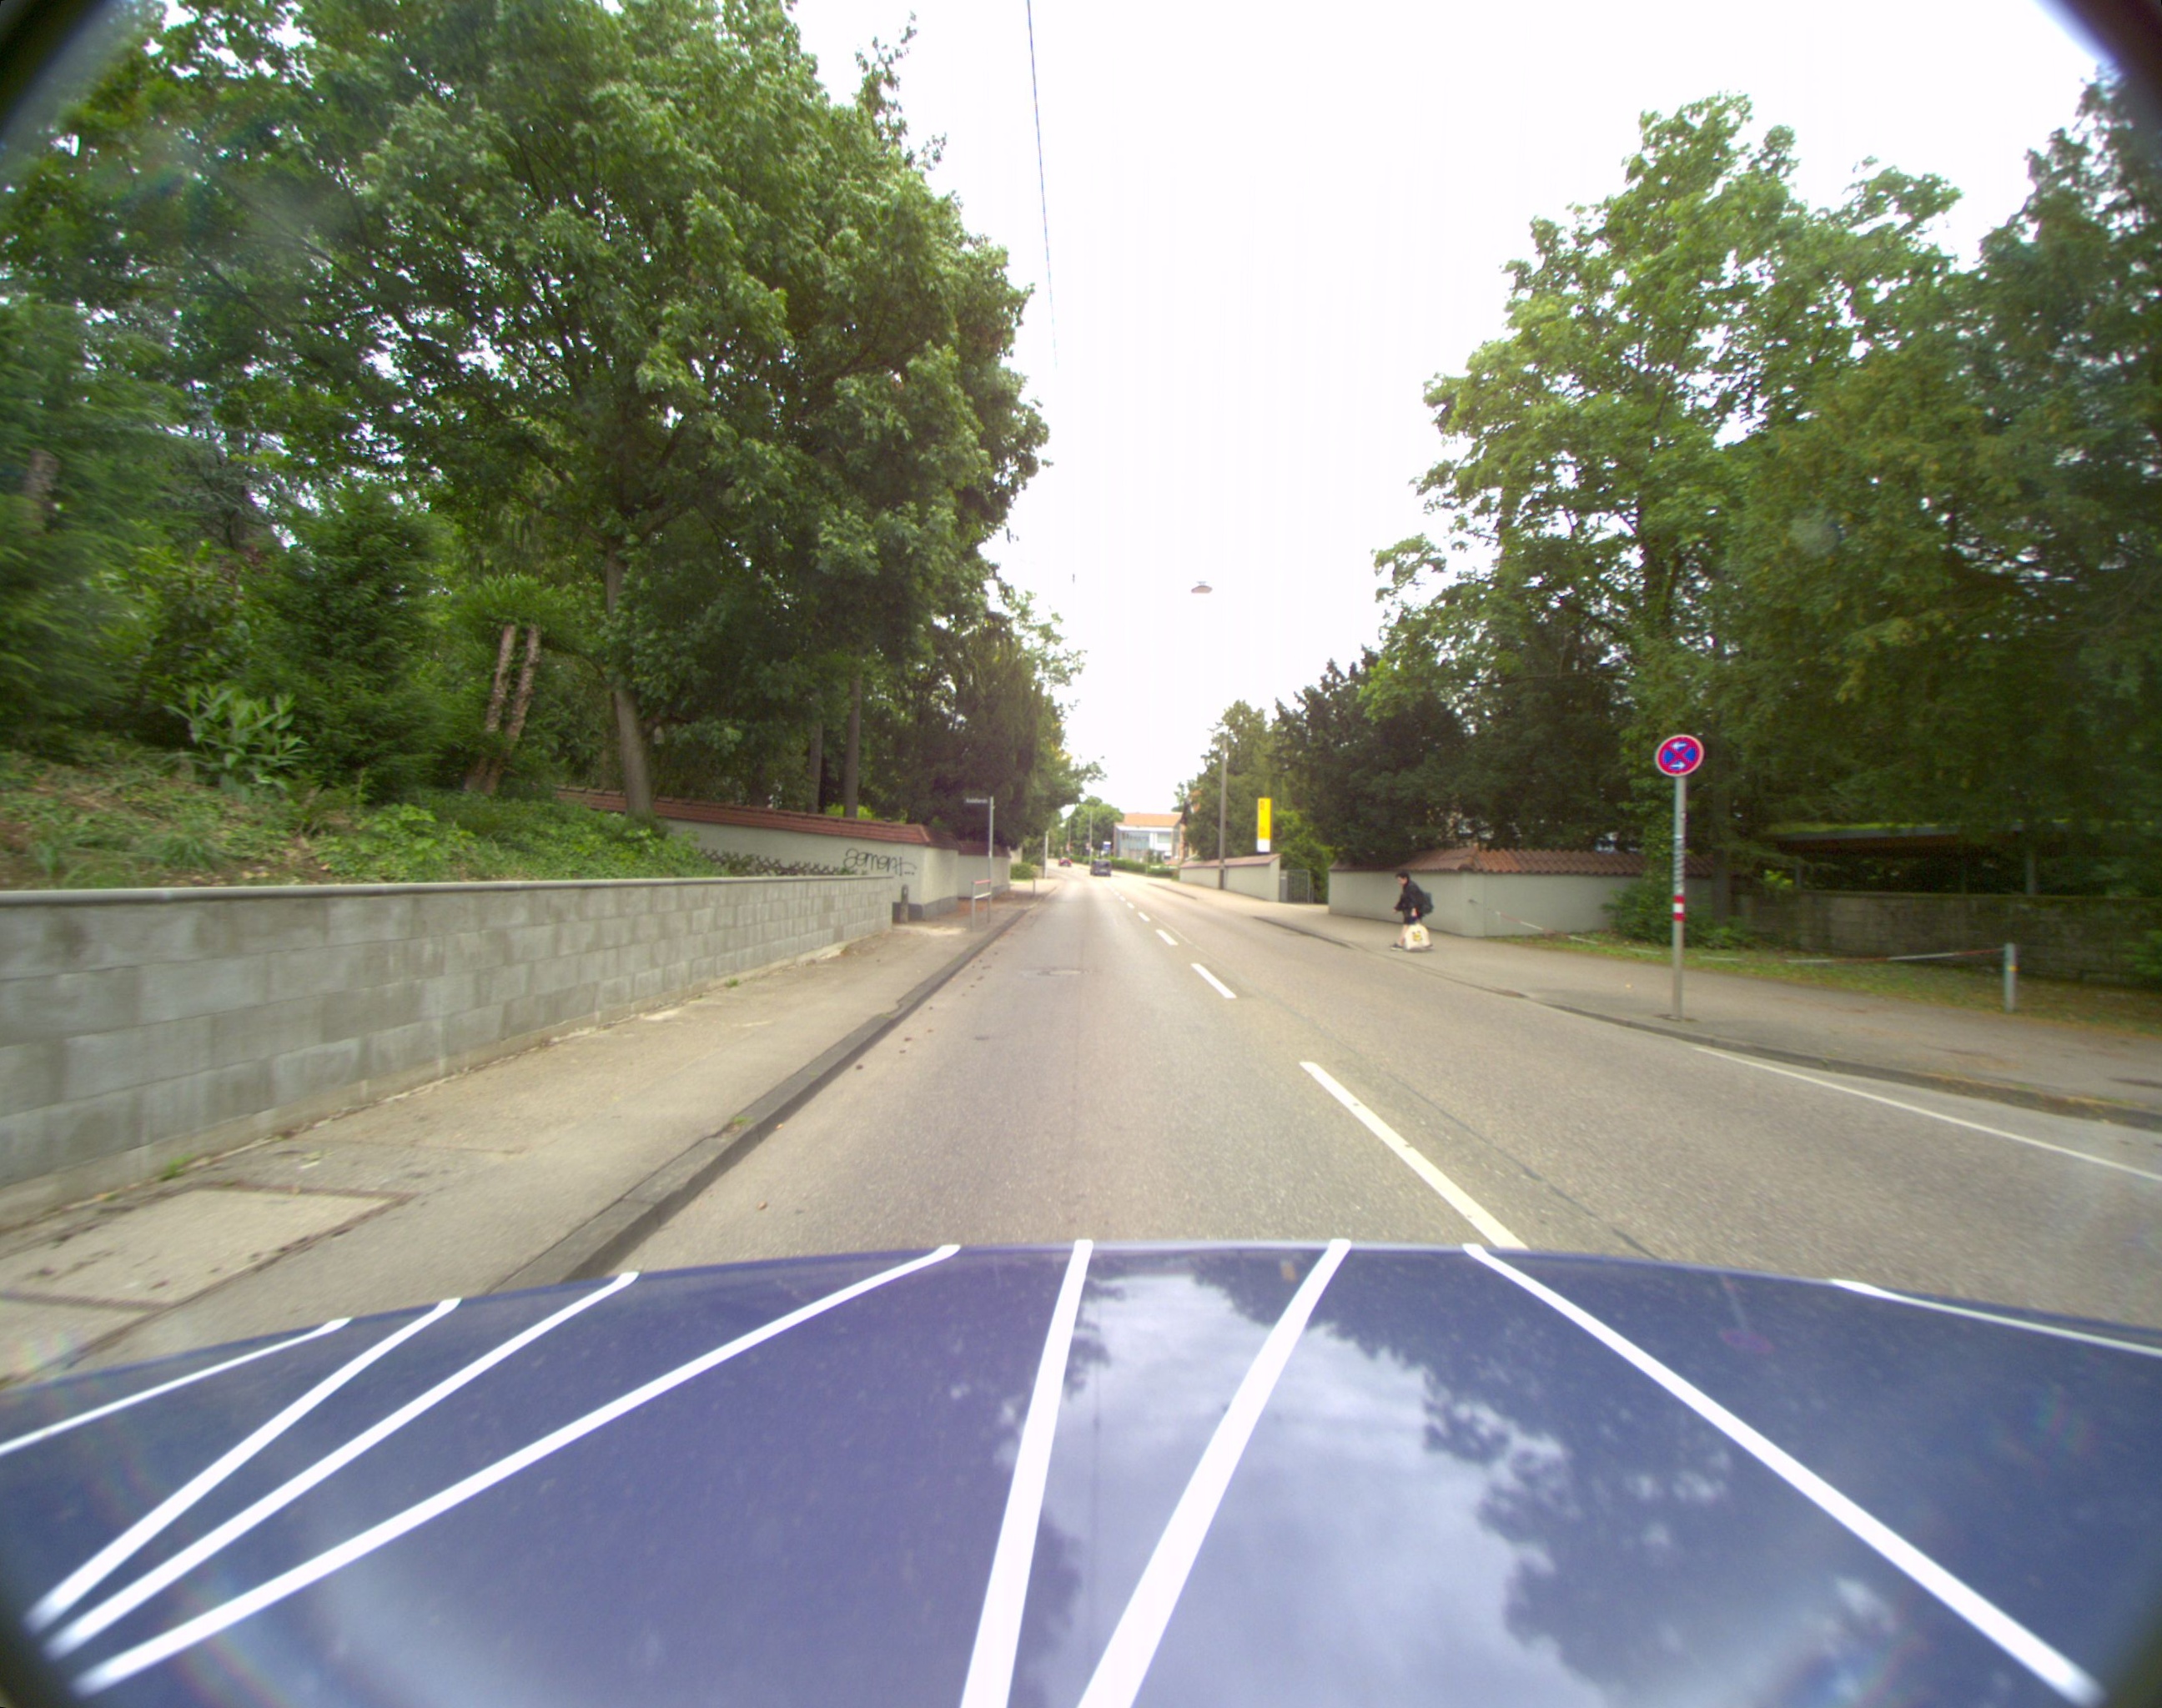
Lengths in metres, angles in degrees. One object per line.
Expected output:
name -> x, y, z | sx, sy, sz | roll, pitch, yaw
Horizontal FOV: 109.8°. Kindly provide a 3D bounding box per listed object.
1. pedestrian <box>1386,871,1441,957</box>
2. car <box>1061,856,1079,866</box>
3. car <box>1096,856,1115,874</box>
pedestrian -> 6.351, 1.116, 14.487 | 0.900, 1.551, 0.930 | -1, 1, 27
car -> -1.793, 1.134, 122.528 | 1.792, 1.420, 3.994 | 2, 0, -15
car -> 2.681, 1.201, 85.054 | 1.895, 1.845, 5.083 | 1, 0, -1
